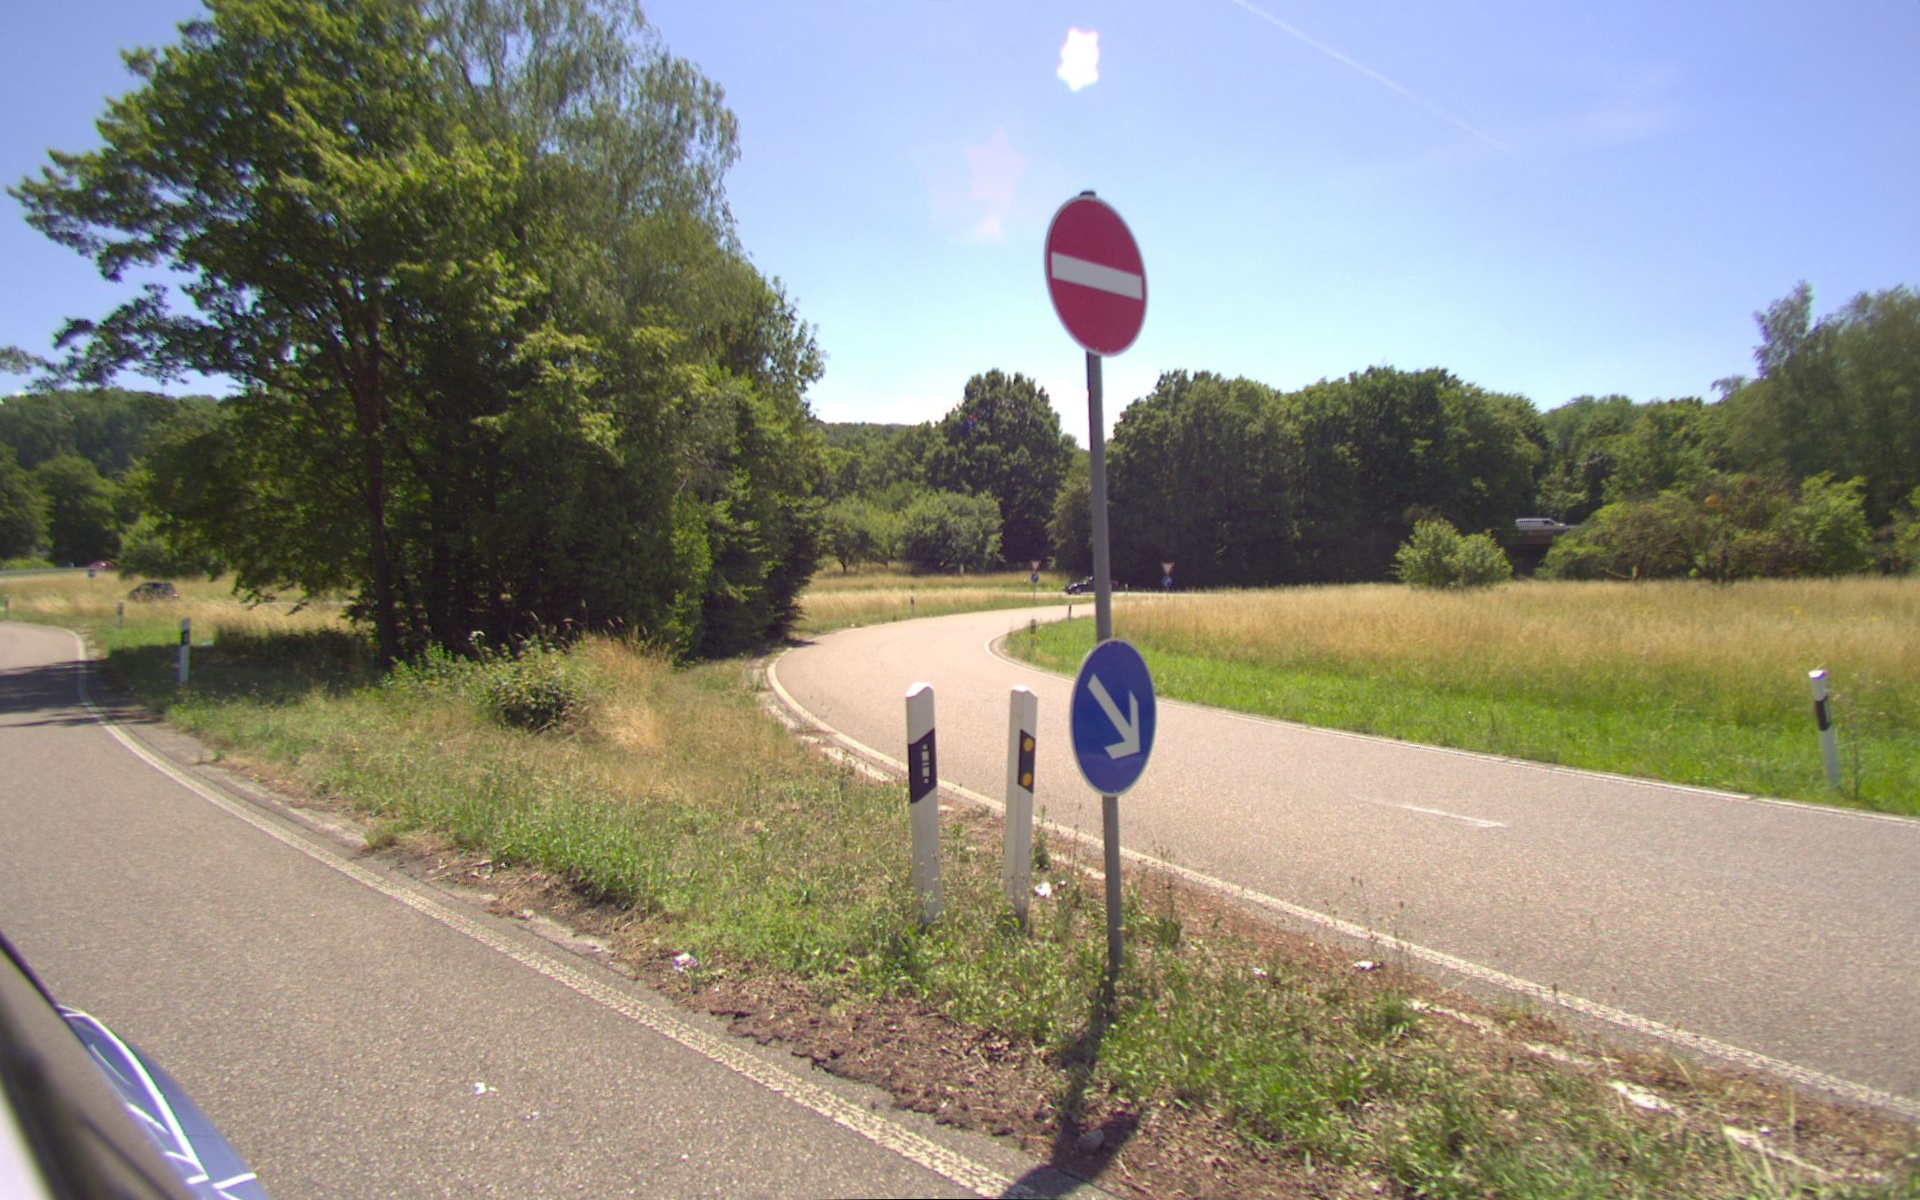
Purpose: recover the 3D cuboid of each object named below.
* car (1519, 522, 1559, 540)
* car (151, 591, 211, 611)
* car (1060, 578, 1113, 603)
[{"bbox_3d":[66.662,-7.904,116.549,3.986,2.028,1.979,2,3,31],"label":"car"},{"bbox_3d":[-54.017,0.087,70.205,2.917,1.337,1.473,0,2,-3],"label":"car"},{"bbox_3d":[10.609,-0.808,84.778,3.933,2.028,2.006,0,2,-14],"label":"car"}]
